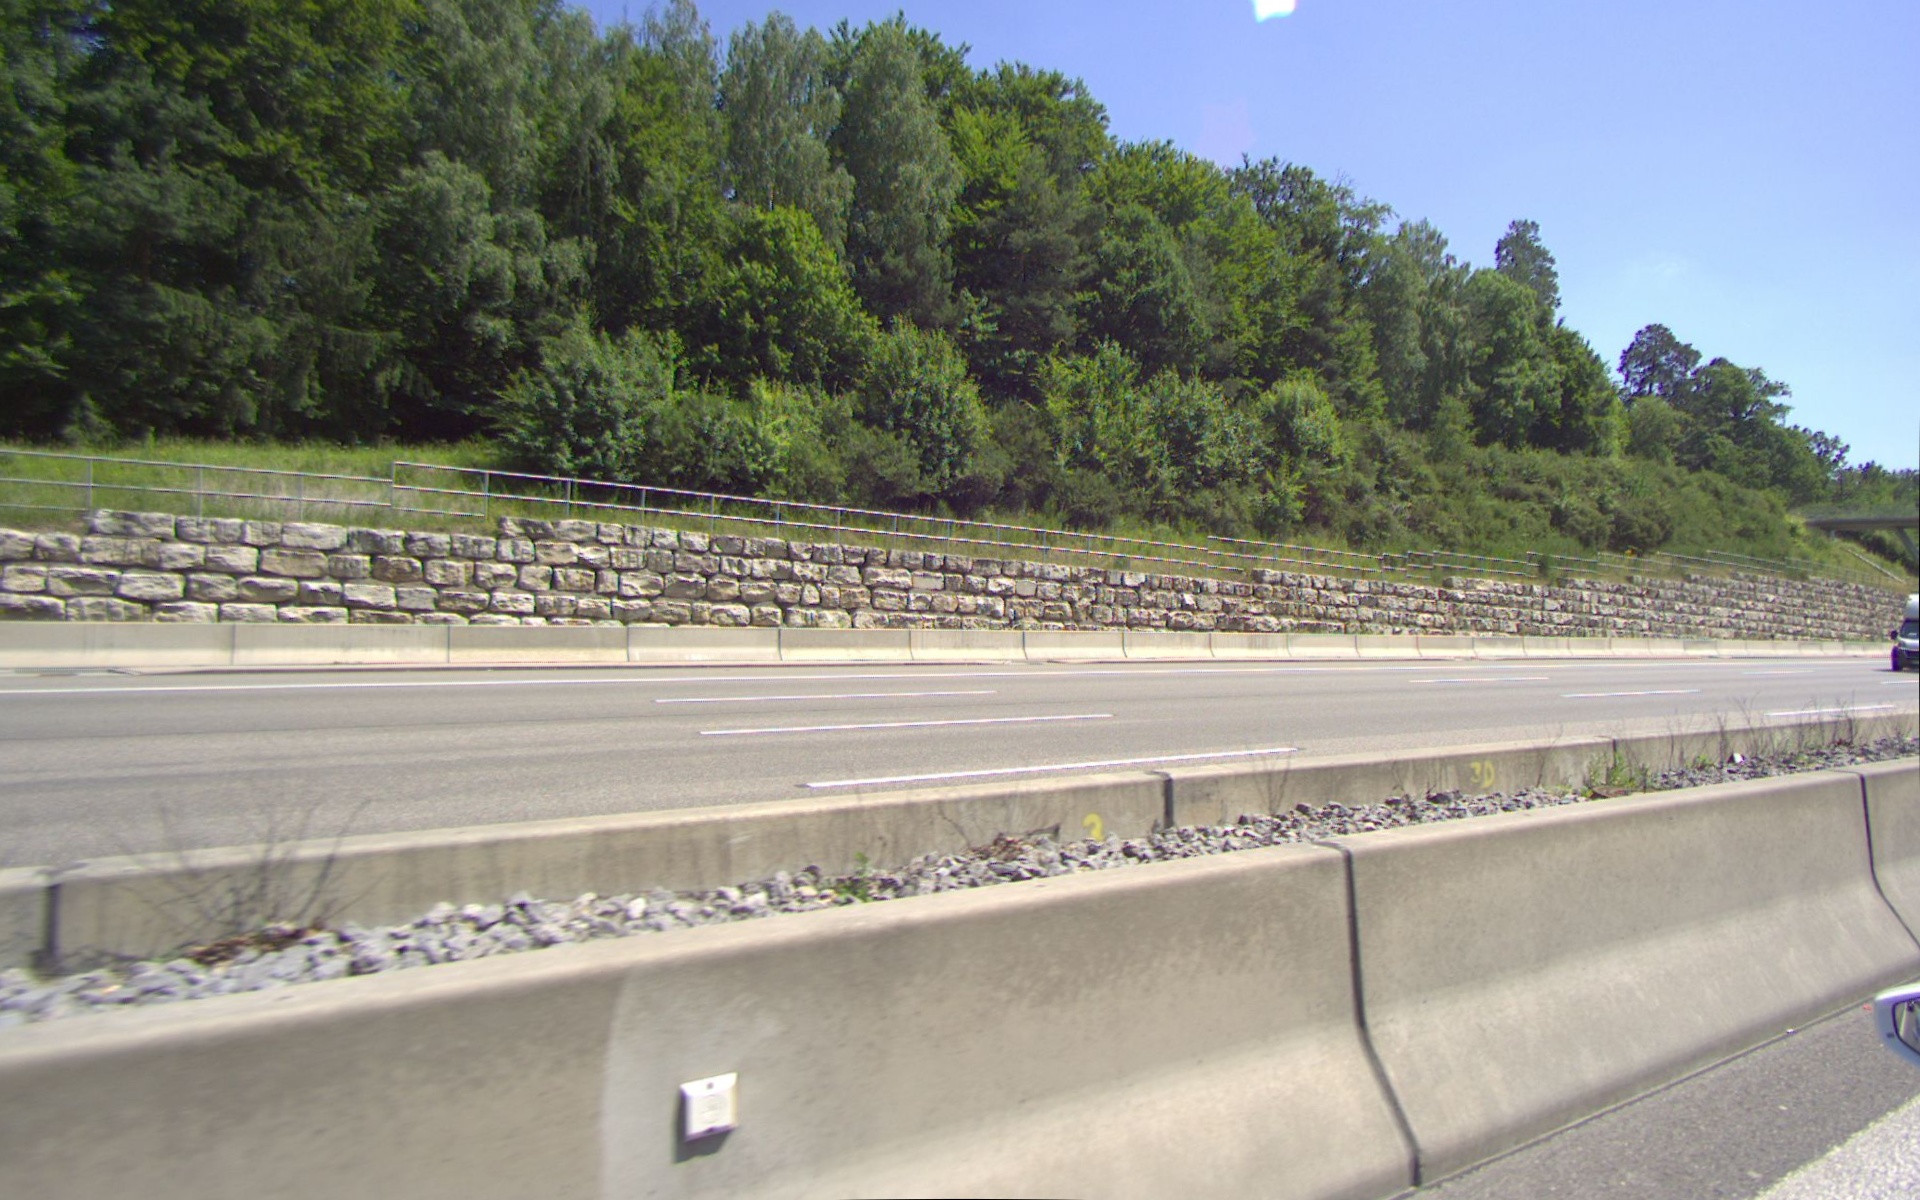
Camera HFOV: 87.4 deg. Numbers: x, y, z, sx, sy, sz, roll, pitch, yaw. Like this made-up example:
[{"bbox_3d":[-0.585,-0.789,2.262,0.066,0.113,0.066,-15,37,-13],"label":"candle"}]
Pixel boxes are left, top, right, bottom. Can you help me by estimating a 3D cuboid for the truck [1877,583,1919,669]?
[{"bbox_3d":[38.439,1.042,39.134,6.845,3.185,2.263,1,1,-33],"label":"truck"}]
